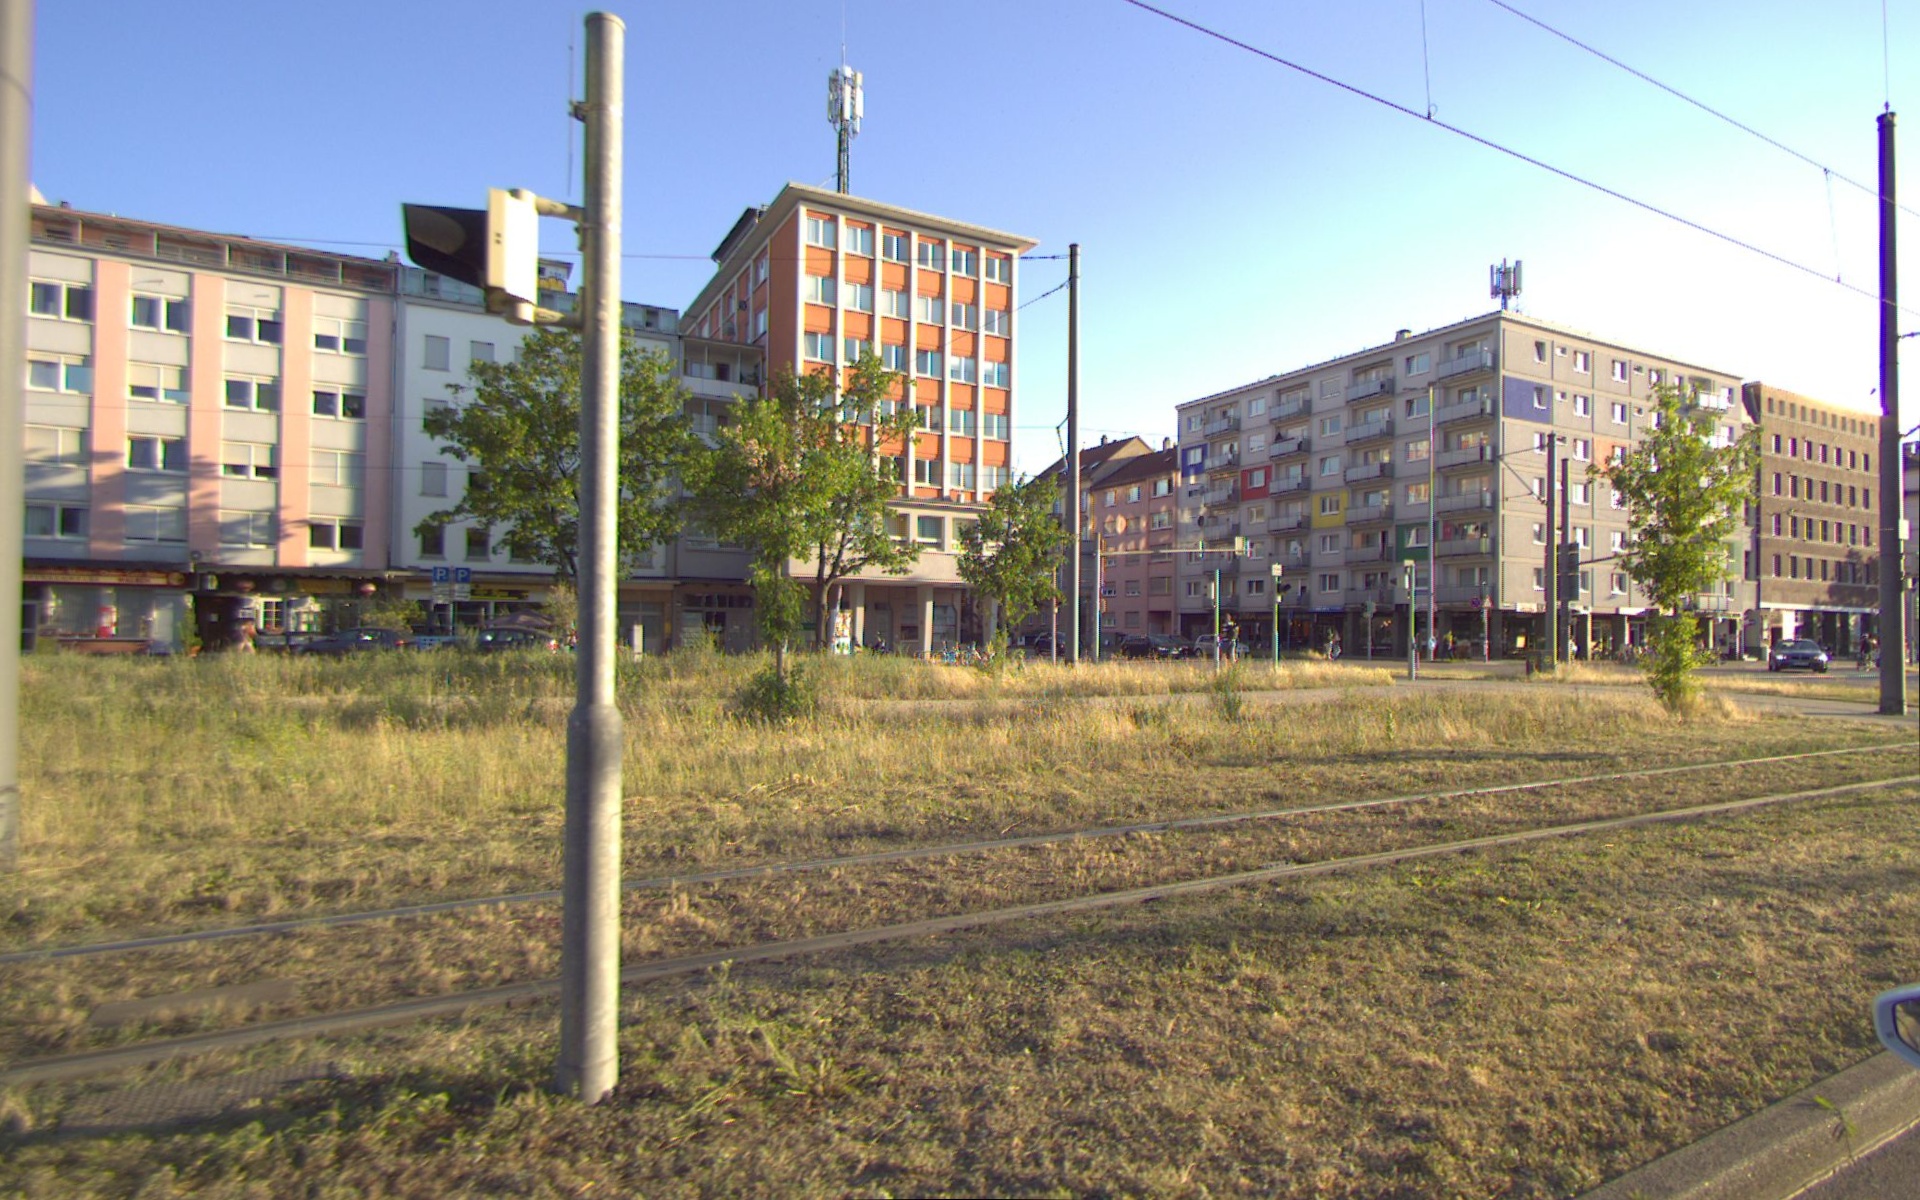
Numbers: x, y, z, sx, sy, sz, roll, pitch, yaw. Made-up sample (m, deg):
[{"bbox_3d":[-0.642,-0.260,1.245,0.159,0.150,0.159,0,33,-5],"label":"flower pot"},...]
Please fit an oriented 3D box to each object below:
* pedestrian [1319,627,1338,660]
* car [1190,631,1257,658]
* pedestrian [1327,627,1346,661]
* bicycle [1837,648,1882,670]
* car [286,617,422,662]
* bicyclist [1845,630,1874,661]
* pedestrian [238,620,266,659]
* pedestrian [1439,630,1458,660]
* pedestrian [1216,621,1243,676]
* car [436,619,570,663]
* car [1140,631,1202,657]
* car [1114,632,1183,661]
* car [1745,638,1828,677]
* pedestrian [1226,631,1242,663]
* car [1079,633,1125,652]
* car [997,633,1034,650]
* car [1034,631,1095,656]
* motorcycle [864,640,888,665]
[{"bbox_3d":[20.879,2.467,56.913,0.728,1.876,0.702,0,-1,-28],"label":"pedestrian"},{"bbox_3d":[16.366,2.746,62.442,1.784,1.606,3.842,0,-1,-33],"label":"car"},{"bbox_3d":[21.091,2.458,56.225,0.812,1.872,0.600,0,-1,-28],"label":"pedestrian"},{"bbox_3d":[43.666,2.861,48.764,1.702,0.983,0.703,1,2,-9],"label":"bicycle"},{"bbox_3d":[-22.363,1.443,37.192,3.925,1.547,1.758,0,-1,-6],"label":"car"},{"bbox_3d":[43.658,2.209,48.749,0.840,1.462,0.662,0,1,-9],"label":"bicyclist"},{"bbox_3d":[-28.848,1.614,40.931,0.843,1.548,1.113,0,-1,-31],"label":"pedestrian"},{"bbox_3d":[27.171,2.496,55.877,0.767,1.692,0.742,-1,-1,8],"label":"pedestrian"},{"bbox_3d":[9.010,1.611,33.572,0.638,1.786,0.721,0,-1,-7],"label":"pedestrian"},{"bbox_3d":[-16.990,1.521,37.513,4.211,1.547,1.758,0,-1,-6],"label":"car"},{"bbox_3d":[13.884,2.851,66.186,1.784,1.606,3.842,0,-1,-33],"label":"car"},{"bbox_3d":[11.012,2.713,58.845,1.784,1.606,3.842,0,-1,-33],"label":"car"},{"bbox_3d":[35.968,2.461,43.814,1.685,1.453,3.998,0,0,23],"label":"car"},{"bbox_3d":[14.355,2.436,52.640,0.607,1.651,0.512,0,-1,-28],"label":"pedestrian"},{"bbox_3d":[12.722,3.814,90.288,1.784,1.606,4.261,0,-1,-33],"label":"car"},{"bbox_3d":[5.515,4.096,99.851,1.784,1.606,3.842,0,-1,-33],"label":"car"},{"bbox_3d":[7.105,2.973,68.736,1.968,1.606,4.255,0,-1,-33],"label":"car"},{"bbox_3d":[-3.844,2.386,45.830,0.524,1.082,1.443,0,-1,-29],"label":"motorcycle"}]
